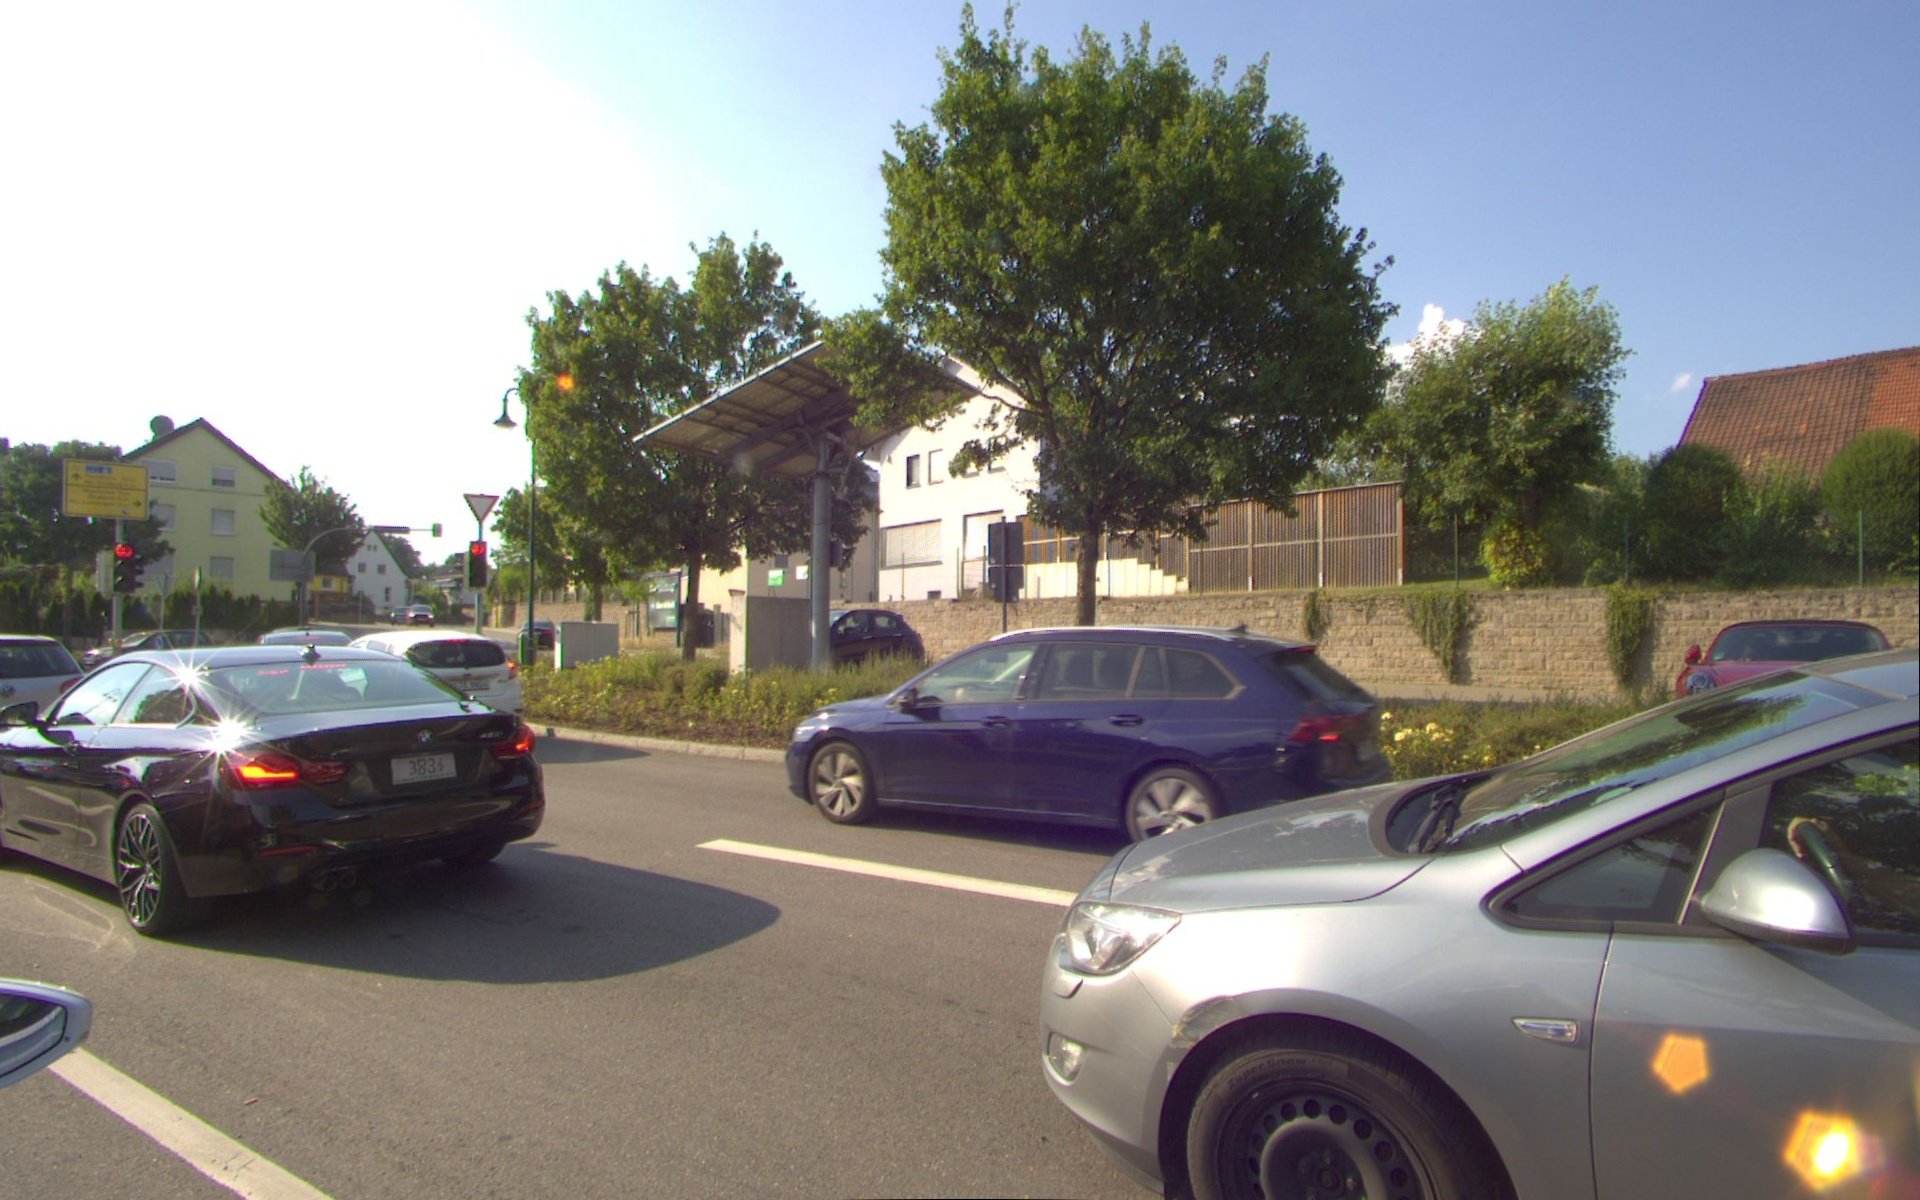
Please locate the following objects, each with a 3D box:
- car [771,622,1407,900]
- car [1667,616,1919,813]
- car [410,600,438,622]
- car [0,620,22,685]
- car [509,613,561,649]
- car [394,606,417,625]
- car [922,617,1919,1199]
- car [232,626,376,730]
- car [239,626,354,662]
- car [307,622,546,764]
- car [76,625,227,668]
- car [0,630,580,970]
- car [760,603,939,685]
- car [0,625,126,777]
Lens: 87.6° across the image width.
[{"bbox_3d":[0.820,0.914,7.284,4.256,1.472,1.758,-1,0,32],"label":"car"},{"bbox_3d":[8.224,0.952,9.749,1.758,1.510,4.120,-1,-2,41],"label":"car"},{"bbox_3d":[-42.073,0.877,78.589,1.822,1.662,4.408,1,-2,-30],"label":"car"},{"bbox_3d":[-26.944,1.372,25.589,4.167,1.701,1.955,0,-1,-39],"label":"car"},{"bbox_3d":[-21.264,1.543,50.220,1.936,1.701,4.207,0,-1,-17],"label":"car"},{"bbox_3d":[-54.601,1.547,98.674,1.821,1.761,4.764,1,-2,-28],"label":"car"},{"bbox_3d":[2.173,0.782,2.166,4.256,1.472,1.758,-1,0,31],"label":"car"},{"bbox_3d":[-11.755,1.270,17.818,1.643,1.562,4.362,-1,0,-40],"label":"car"},{"bbox_3d":[-29.766,1.956,45.068,1.817,1.508,3.990,0,-2,23],"label":"car"},{"bbox_3d":[-6.919,1.080,12.892,3.278,1.562,1.611,-1,0,40],"label":"car"},{"bbox_3d":[-30.075,1.716,37.367,1.821,1.508,3.983,-1,-2,30],"label":"car"},{"bbox_3d":[-4.436,0.914,6.190,4.220,1.416,1.758,-1,0,33],"label":"car"},{"bbox_3d":[-2.379,0.960,22.302,1.758,1.653,3.800,-1,-2,40],"label":"car"},{"bbox_3d":[-10.807,1.011,10.783,3.848,1.444,1.758,-1,0,33],"label":"car"}]
